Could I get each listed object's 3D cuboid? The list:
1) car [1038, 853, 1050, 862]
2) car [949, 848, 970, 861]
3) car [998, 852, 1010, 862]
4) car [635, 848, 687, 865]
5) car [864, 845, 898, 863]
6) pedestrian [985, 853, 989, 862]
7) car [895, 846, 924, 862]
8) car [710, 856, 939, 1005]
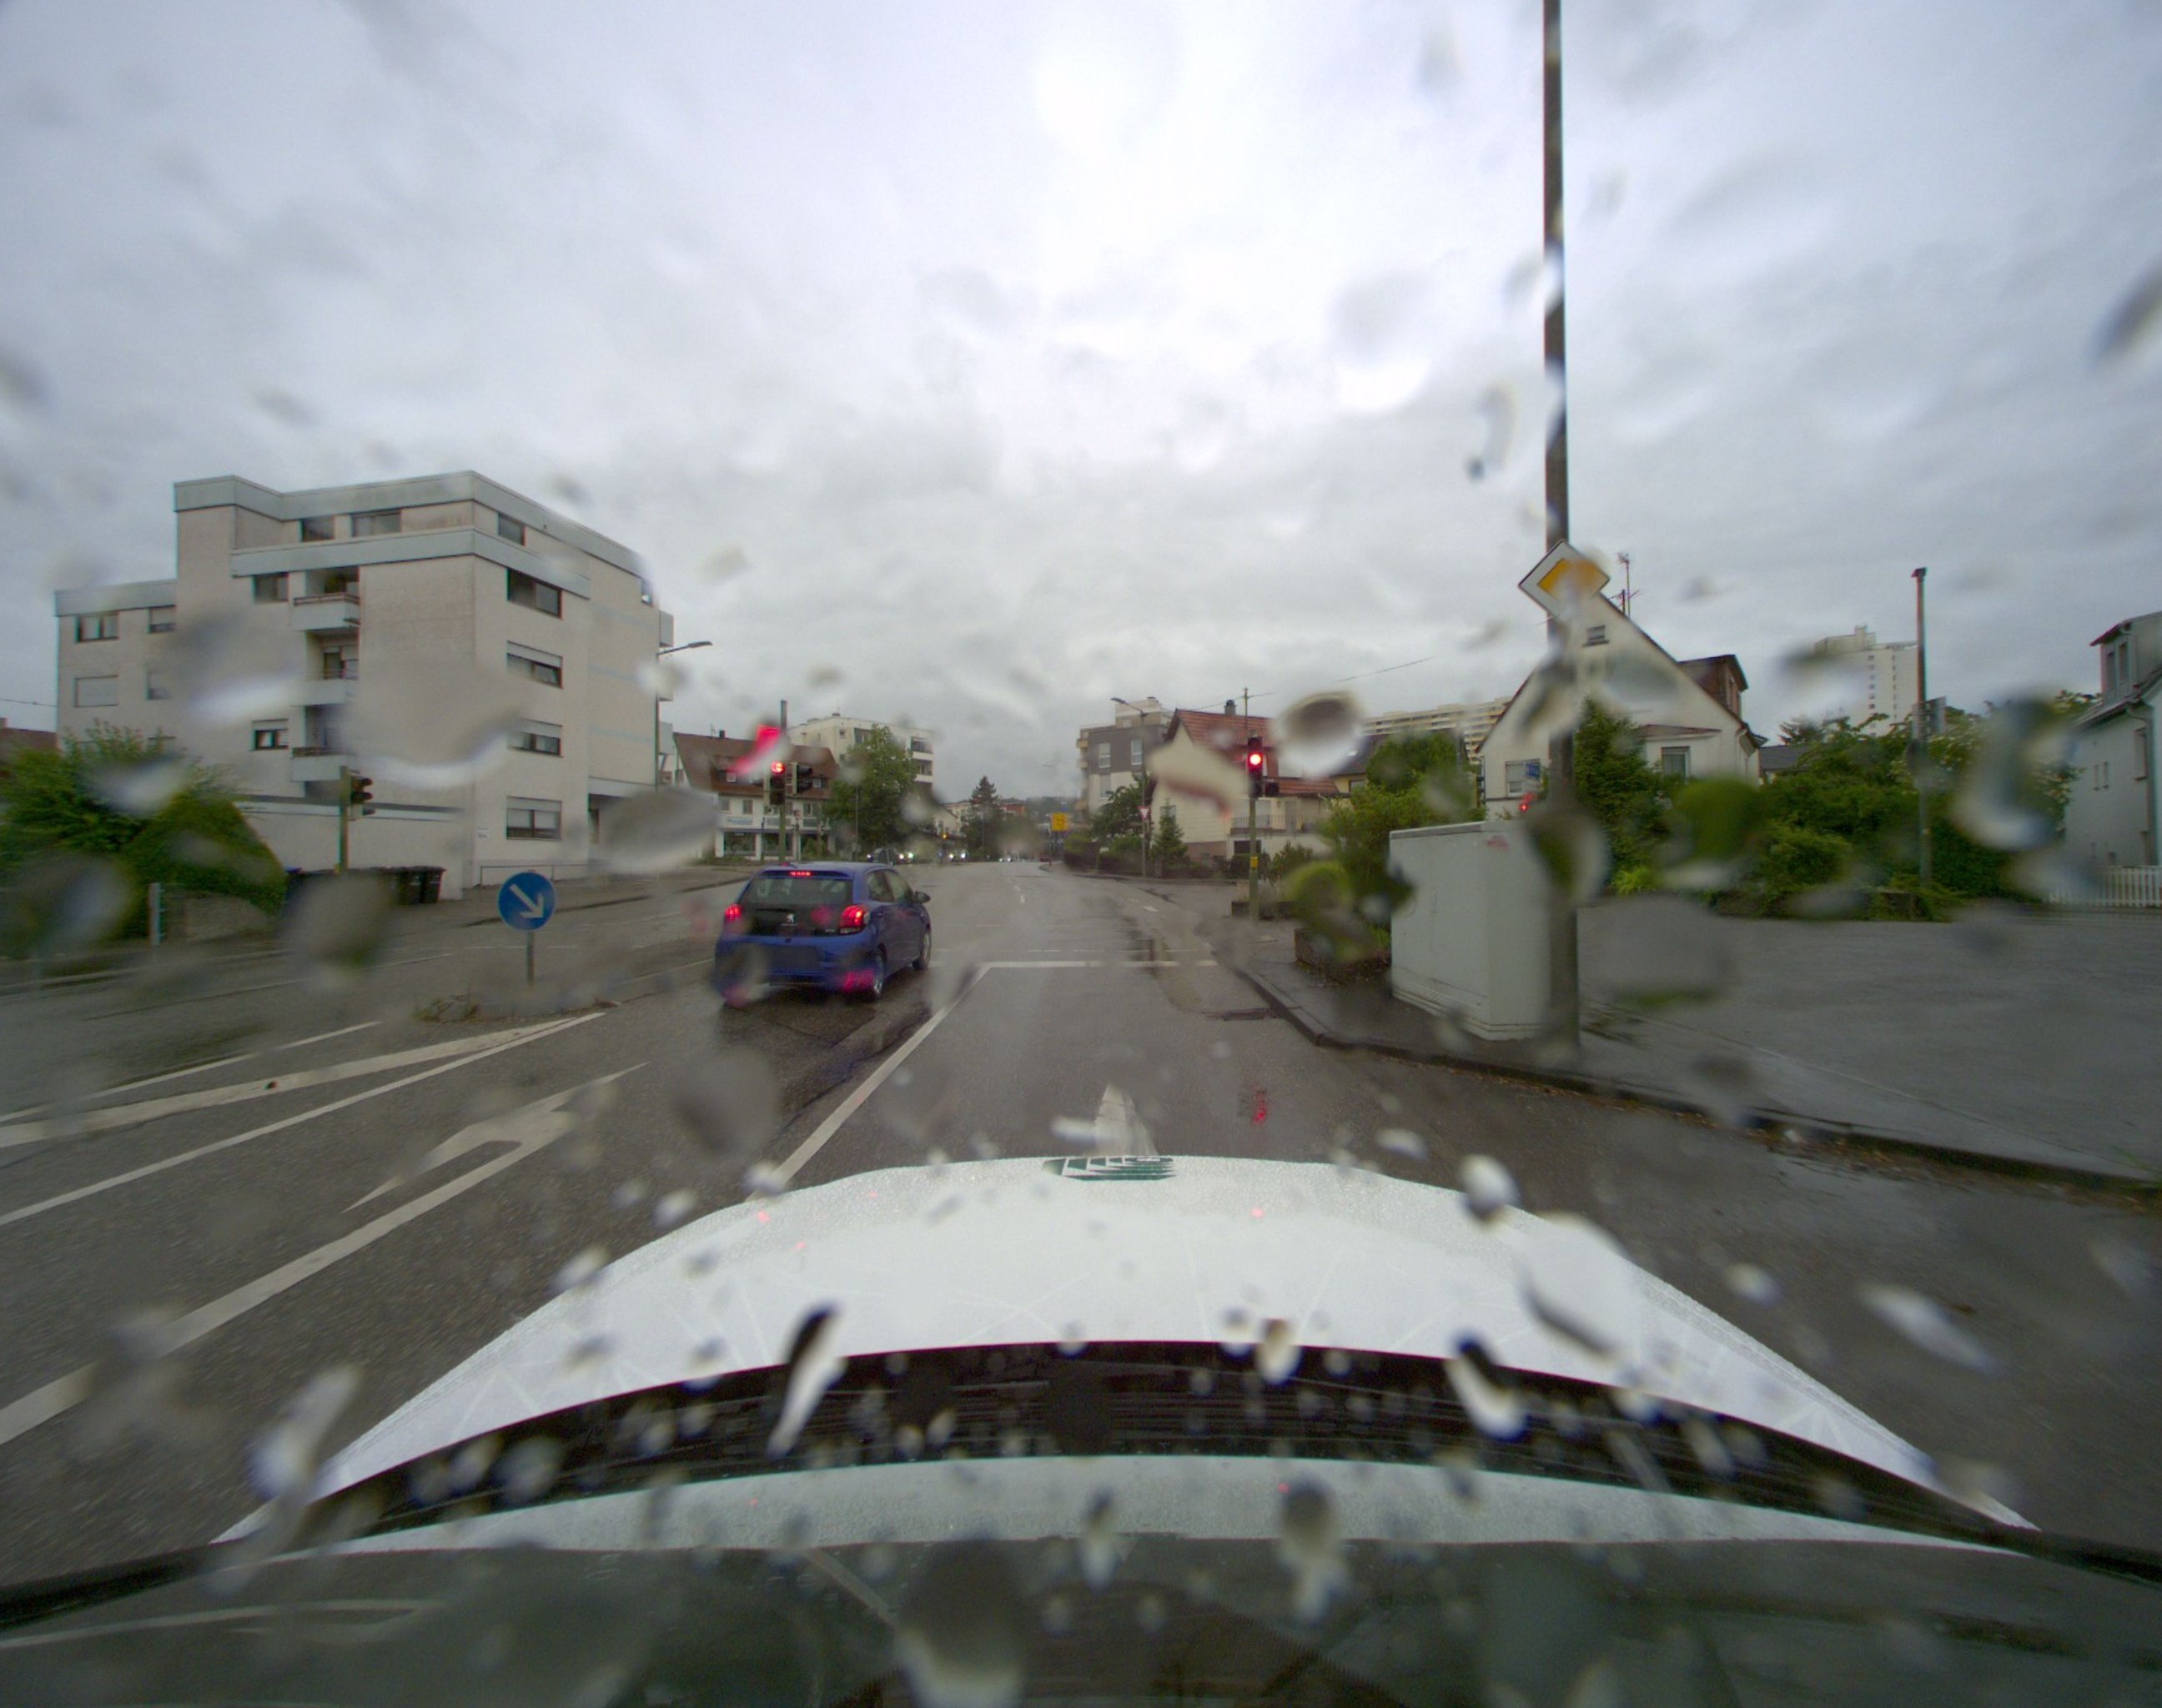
[{"bbox_3d":[-7.023,0.667,154.914,1.806,1.486,4.191,-1,0,2],"label":"car"},{"bbox_3d":[-14.184,0.009,94.910,1.772,1.420,3.831,0,1,1],"label":"car"},{"bbox_3d":[-13.908,0.534,147.248,1.749,1.815,3.863,0,1,2],"label":"car"},{"bbox_3d":[-38.995,0.194,75.642,3.989,1.572,1.850,-1,1,-43],"label":"car"},{"bbox_3d":[-16.570,0.009,67.566,1.772,1.420,3.831,0,1,1],"label":"car"},{"bbox_3d":[-17.394,0.616,150.669,0.492,1.658,0.437,0,0,27],"label":"pedestrian"},{"bbox_3d":[-15.754,-0.041,74.813,1.709,1.387,4.021,0,1,1],"label":"car"},{"bbox_3d":[-2.781,0.748,9.575,1.573,1.410,3.271,0,0,1],"label":"car"}]
